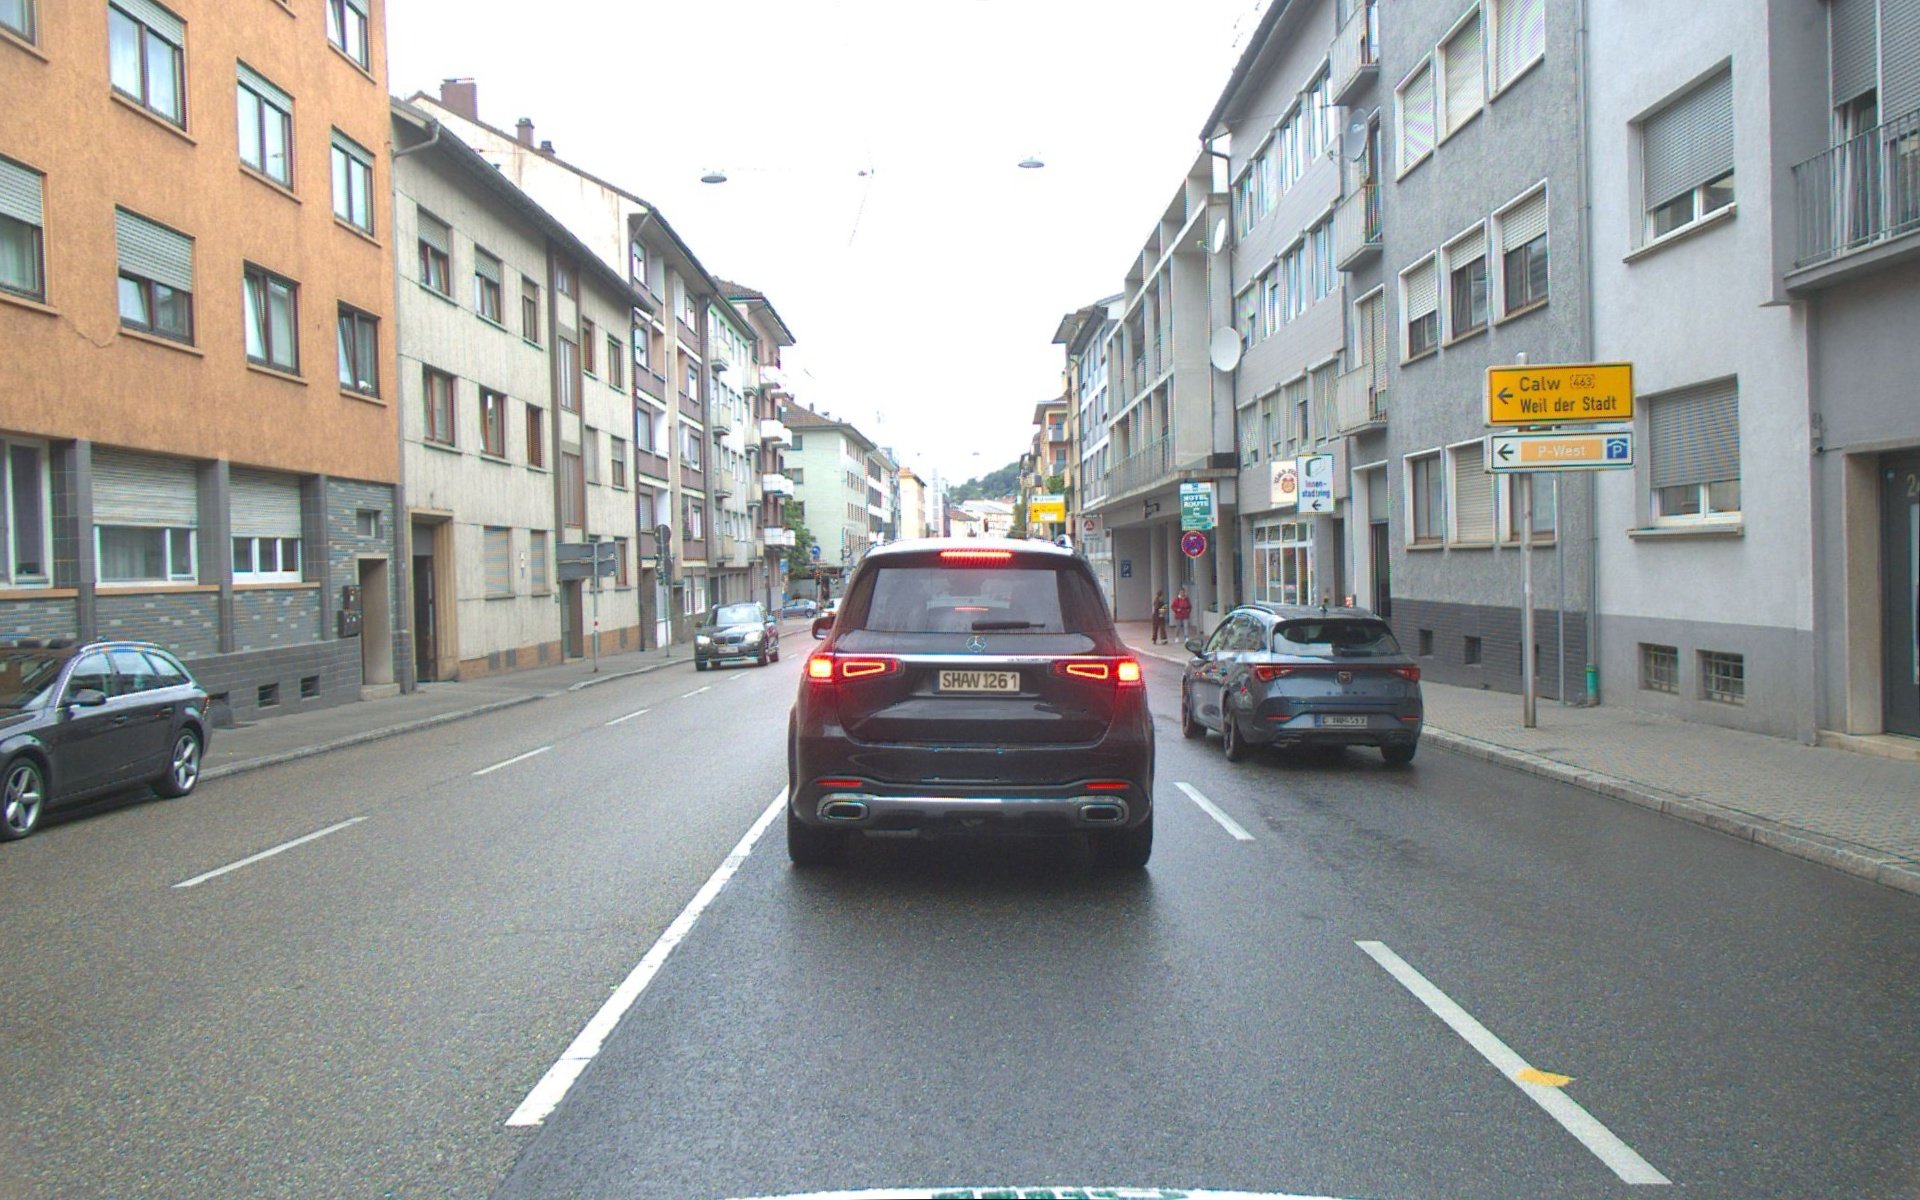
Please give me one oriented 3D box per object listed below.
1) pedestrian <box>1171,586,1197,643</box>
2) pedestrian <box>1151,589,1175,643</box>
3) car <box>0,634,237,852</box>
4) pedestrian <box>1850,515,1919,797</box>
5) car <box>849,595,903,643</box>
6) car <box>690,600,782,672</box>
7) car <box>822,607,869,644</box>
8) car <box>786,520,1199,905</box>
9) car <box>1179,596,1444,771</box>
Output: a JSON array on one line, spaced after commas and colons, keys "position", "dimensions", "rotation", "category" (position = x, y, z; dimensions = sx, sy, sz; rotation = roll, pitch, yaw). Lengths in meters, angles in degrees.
[{"position": [6.473, 0.413, 47.790], "dimensions": [0.549, 1.606, 0.525], "rotation": [-4, 0, -6], "category": "pedestrian"}, {"position": [5.855, 0.454, 47.732], "dimensions": [0.496, 1.526, 0.562], "rotation": [-4, 0, -1], "category": "pedestrian"}, {"position": [-7.962, 1.093, 13.990], "dimensions": [1.759, 1.463, 4.526], "rotation": [1, 0, -1], "category": "car"}, {"position": [6.439, 0.343, 10.739], "dimensions": [0.630, 1.808, 1.056], "rotation": [-4, 0, -1], "category": "pedestrian"}, {"position": [-3.374, 0.752, 67.372], "dimensions": [1.798, 1.757, 4.475], "rotation": [-4, 0, 1], "category": "car"}, {"position": [-5.434, 0.835, 40.542], "dimensions": [1.669, 1.533, 4.158], "rotation": [-4, 0, -1], "category": "car"}, {"position": [-5.675, 1.241, 82.277], "dimensions": [1.760, 1.612, 4.317], "rotation": [-3, 0, 2], "category": "car"}, {"position": [0.120, 0.544, 10.063], "dimensions": [1.984, 1.837, 3.999], "rotation": [1, 0, -1], "category": "car"}, {"position": [3.298, 0.710, 16.330], "dimensions": [1.588, 1.455, 4.311], "rotation": [1, 0, -1], "category": "car"}]
